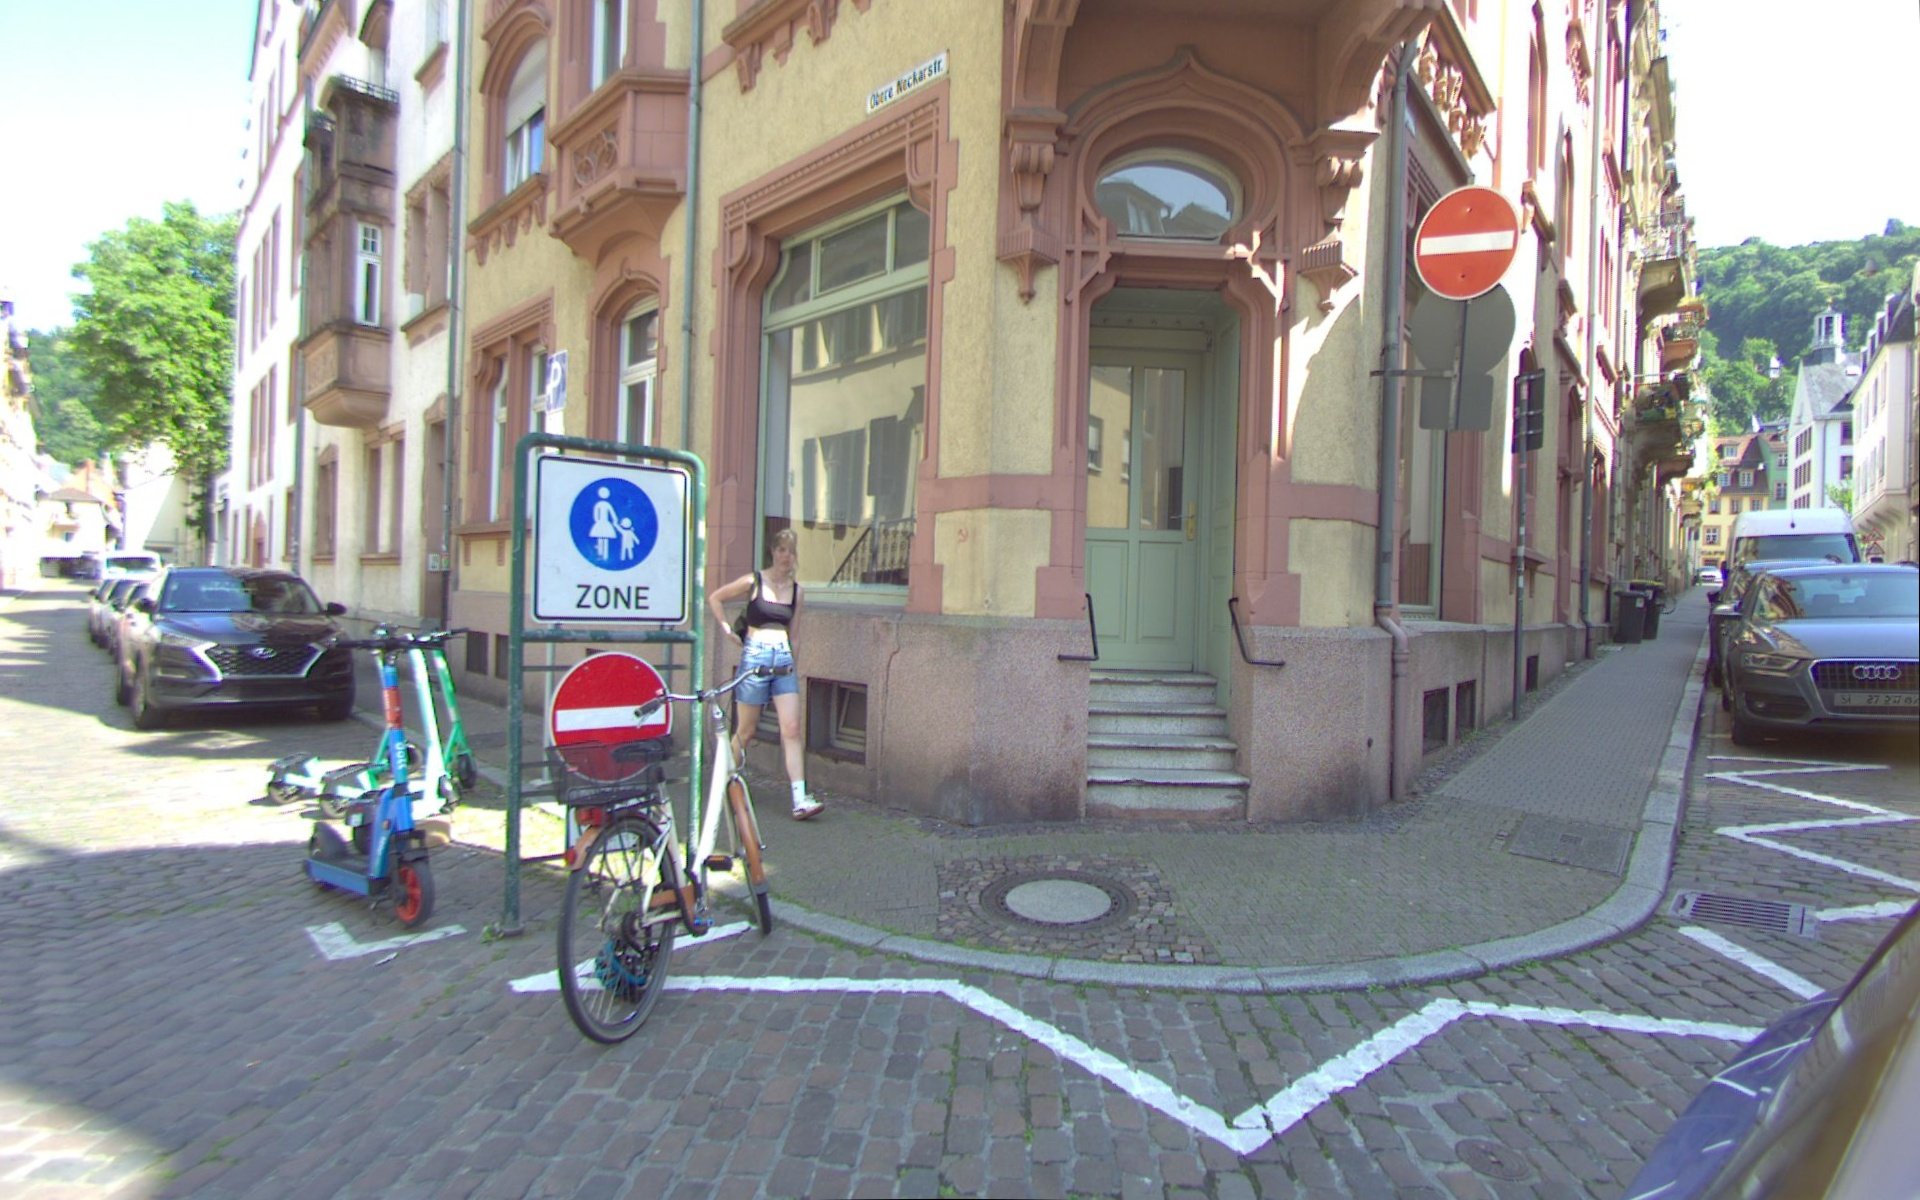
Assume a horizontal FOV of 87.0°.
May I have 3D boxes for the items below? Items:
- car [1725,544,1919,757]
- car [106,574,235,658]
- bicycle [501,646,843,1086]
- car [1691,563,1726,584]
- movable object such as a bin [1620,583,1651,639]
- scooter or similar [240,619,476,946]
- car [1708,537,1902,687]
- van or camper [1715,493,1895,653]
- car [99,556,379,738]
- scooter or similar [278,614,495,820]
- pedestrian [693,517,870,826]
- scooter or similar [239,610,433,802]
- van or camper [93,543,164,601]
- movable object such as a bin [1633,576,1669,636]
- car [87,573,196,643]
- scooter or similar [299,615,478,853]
[{"bbox_3d":[8.337,0.332,9.413,1.851,1.603,4.205,-1,1,36],"label":"car"},{"bbox_3d":[-14.797,0.239,18.909,1.682,1.413,3.328,0,1,-42],"label":"car"},{"bbox_3d":[-0.969,0.822,3.893,0.497,1.160,1.788,2,1,11],"label":"bicycle"},{"bbox_3d":[65.595,-2.300,88.745,1.984,1.683,3.956,1,1,31],"label":"car"},{"bbox_3d":[12.023,0.192,18.012,0.437,0.969,0.345,1,0,38],"label":"movable object such as a bin"},{"bbox_3d":[-2.716,0.736,4.536,1.183,1.251,0.437,1,0,34],"label":"scooter or similar"},{"bbox_3d":[11.357,0.101,13.787,1.752,1.727,3.946,-2,0,38],"label":"car"},{"bbox_3d":[15.956,-0.579,19.461,2.214,2.551,6.680,2,3,37],"label":"van or camper"},{"bbox_3d":[-8.185,0.386,11.347,1.967,1.663,3.989,0,1,-44],"label":"car"},{"bbox_3d":[-3.802,0.717,6.787,0.409,1.224,1.223,1,0,28],"label":"scooter or similar"},{"bbox_3d":[-1.135,0.391,6.372,0.613,1.780,0.978,-3,3,-43],"label":"pedestrian"},{"bbox_3d":[-4.367,0.691,7.158,0.338,1.224,1.182,1,0,22],"label":"scooter or similar"},{"bbox_3d":[-36.111,-1.203,43.887,2.148,2.350,5.352,0,1,-42],"label":"van or camper"},{"bbox_3d":[12.843,0.104,18.816,0.515,1.103,0.415,1,0,38],"label":"movable object such as a bin"},{"bbox_3d":[-17.837,0.127,22.019,1.682,1.413,3.328,0,1,-42],"label":"car"},{"bbox_3d":[-3.326,0.720,5.981,0.336,1.224,1.190,1,0,1],"label":"scooter or similar"}]
